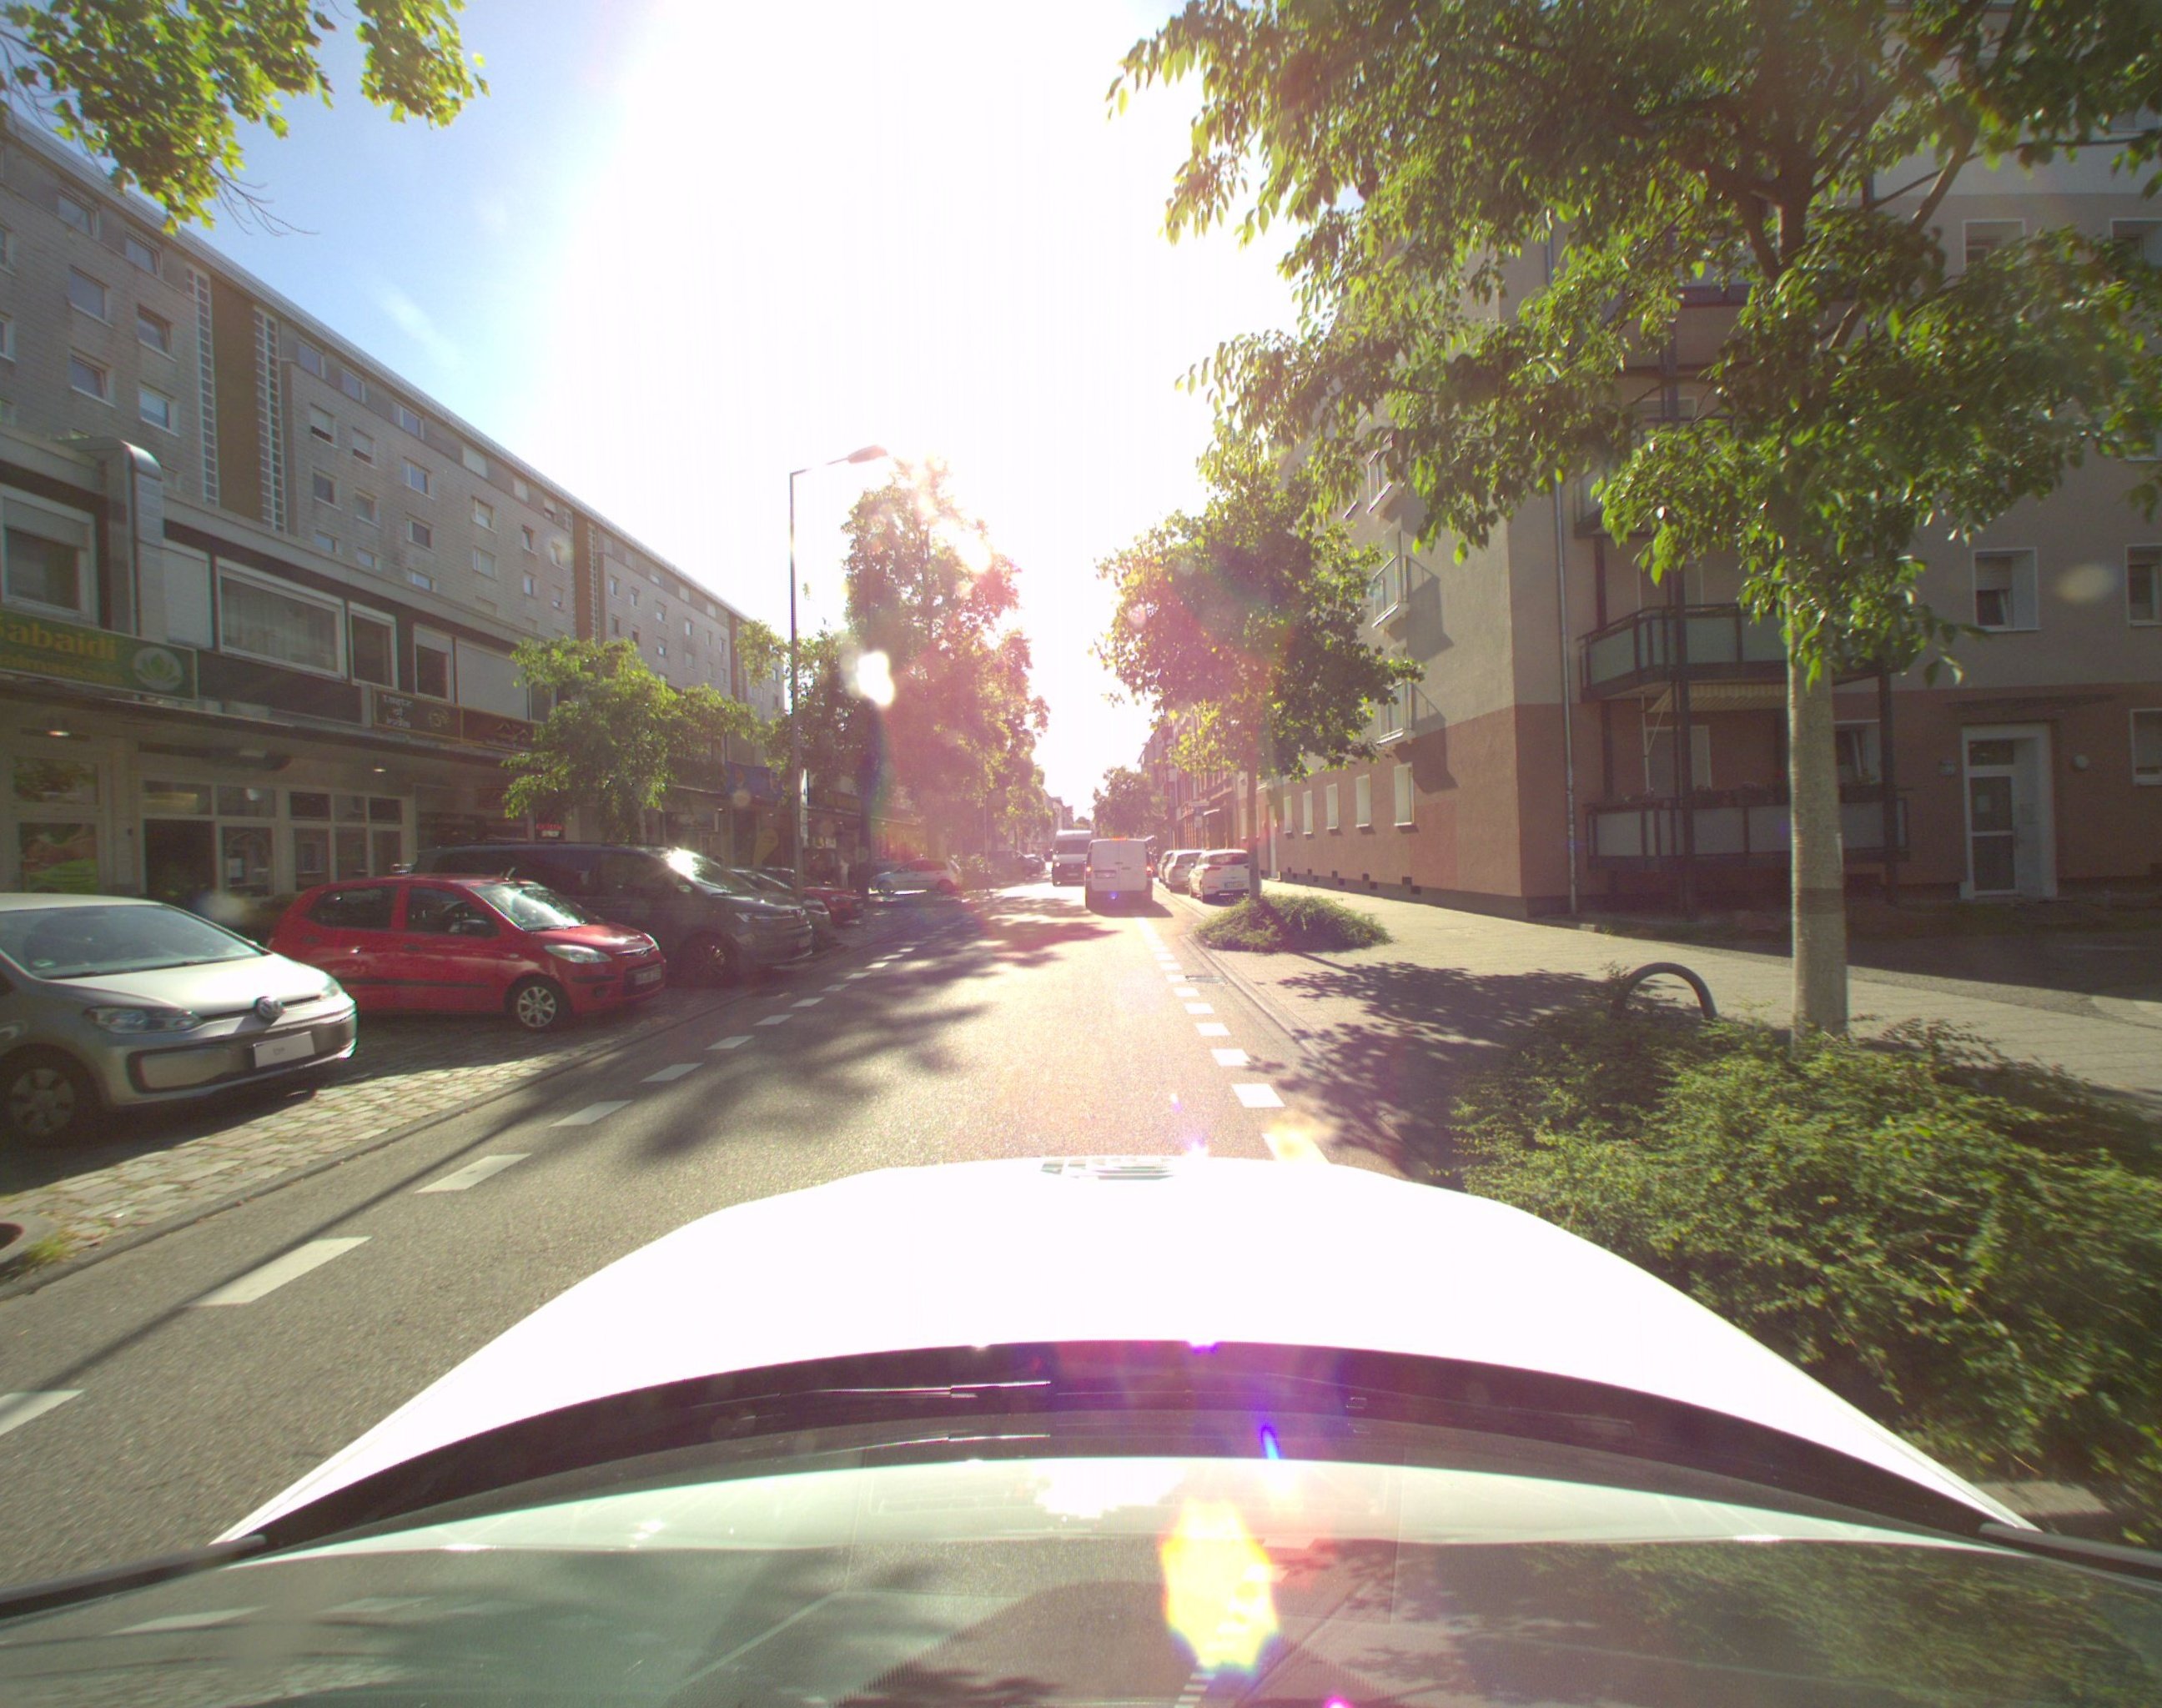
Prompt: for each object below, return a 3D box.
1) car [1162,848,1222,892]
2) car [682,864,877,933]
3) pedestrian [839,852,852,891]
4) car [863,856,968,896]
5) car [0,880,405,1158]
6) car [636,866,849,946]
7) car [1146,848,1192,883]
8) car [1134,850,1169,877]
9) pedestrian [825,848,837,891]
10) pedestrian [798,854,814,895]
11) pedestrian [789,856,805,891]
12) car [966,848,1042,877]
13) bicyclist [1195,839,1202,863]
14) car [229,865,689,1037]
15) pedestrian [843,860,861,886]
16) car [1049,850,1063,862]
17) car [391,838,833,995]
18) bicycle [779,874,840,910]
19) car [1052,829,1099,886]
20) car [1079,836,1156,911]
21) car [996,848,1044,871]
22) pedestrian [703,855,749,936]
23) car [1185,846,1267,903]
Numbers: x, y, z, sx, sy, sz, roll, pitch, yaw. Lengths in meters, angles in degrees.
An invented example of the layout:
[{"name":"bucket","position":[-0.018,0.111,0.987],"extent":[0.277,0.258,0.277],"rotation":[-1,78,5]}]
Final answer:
[{"name":"car","position":[4.121,0.558,30.791],"extent":[1.778,1.460,4.520],"rotation":[-3,0,3]},{"name":"car","position":[-6.975,1.014,19.125],"extent":[3.905,1.450,1.710],"rotation":[-1,0,0]},{"name":"pedestrian","position":[-10.476,0.787,36.295],"extent":[0.389,1.705,0.502],"rotation":[-1,-1,2]},{"name":"car","position":[-6.903,0.901,34.343],"extent":[3.975,1.457,1.860],"rotation":[-2,0,-1]},{"name":"car","position":[-7.192,1.023,5.653],"extent":[3.573,1.561,1.673],"rotation":[-1,0,1]},{"name":"car","position":[-6.810,1.025,16.687],"extent":[3.657,1.450,1.611],"rotation":[-1,0,-3]},{"name":"car","position":[4.028,0.499,37.631],"extent":[1.703,1.480,3.711],"rotation":[-2,0,1]},{"name":"car","position":[4.133,0.554,48.254],"extent":[1.733,1.451,4.000],"rotation":[-2,0,0]},{"name":"pedestrian","position":[-11.198,0.687,36.469],"extent":[0.389,1.934,0.361],"rotation":[-1,-1,2]},{"name":"pedestrian","position":[-12.209,0.898,36.145],"extent":[0.483,1.782,0.427],"rotation":[-2,0,-2]},{"name":"pedestrian","position":[-12.133,0.820,34.783],"extent":[0.467,1.473,0.420],"rotation":[-3,0,-2]},{"name":"car","position":[-5.543,0.598,59.272],"extent":[5.275,1.974,2.015],"rotation":[-1,0,0]},{"name":"bicyclist","position":[7.425,-0.204,51.594],"extent":[0.359,1.477,0.531],"rotation":[-1,0,2]},{"name":"car","position":[-6.357,0.938,8.632],"extent":[3.546,1.554,1.661],"rotation":[-1,0,0]},{"name":"pedestrian","position":[-11.668,0.964,41.507],"extent":[0.721,1.330,0.703],"rotation":[-1,-1,-2]},{"name":"car","position":[-4.158,0.292,137.703],"extent":[1.986,2.013,4.002],"rotation":[-2,0,2]},{"name":"car","position":[-6.282,0.791,11.359],"extent":[5.013,1.938,1.873],"rotation":[-1,0,0]},{"name":"bicycle","position":[-8.664,1.198,26.023],"extent":[1.711,1.117,0.623],"rotation":[0,0,3]},{"name":"car","position":[-0.179,0.118,39.791],"extent":[1.986,2.474,6.606],"rotation":[-2,0,1]},{"name":"car","position":[0.932,0.488,23.544],"extent":[1.915,1.914,4.886],"rotation":[-1,0,-1]},{"name":"car","position":[-5.363,0.492,72.152],"extent":[3.968,2.013,2.003],"rotation":[-1,0,5]},{"name":"pedestrian","position":[-7.763,0.904,17.807],"extent":[0.574,1.712,0.639],"rotation":[-3,0,29]},{"name":"car","position":[4.299,0.558,24.667],"extent":[1.726,1.486,3.794],"rotation":[-4,0,0]}]
